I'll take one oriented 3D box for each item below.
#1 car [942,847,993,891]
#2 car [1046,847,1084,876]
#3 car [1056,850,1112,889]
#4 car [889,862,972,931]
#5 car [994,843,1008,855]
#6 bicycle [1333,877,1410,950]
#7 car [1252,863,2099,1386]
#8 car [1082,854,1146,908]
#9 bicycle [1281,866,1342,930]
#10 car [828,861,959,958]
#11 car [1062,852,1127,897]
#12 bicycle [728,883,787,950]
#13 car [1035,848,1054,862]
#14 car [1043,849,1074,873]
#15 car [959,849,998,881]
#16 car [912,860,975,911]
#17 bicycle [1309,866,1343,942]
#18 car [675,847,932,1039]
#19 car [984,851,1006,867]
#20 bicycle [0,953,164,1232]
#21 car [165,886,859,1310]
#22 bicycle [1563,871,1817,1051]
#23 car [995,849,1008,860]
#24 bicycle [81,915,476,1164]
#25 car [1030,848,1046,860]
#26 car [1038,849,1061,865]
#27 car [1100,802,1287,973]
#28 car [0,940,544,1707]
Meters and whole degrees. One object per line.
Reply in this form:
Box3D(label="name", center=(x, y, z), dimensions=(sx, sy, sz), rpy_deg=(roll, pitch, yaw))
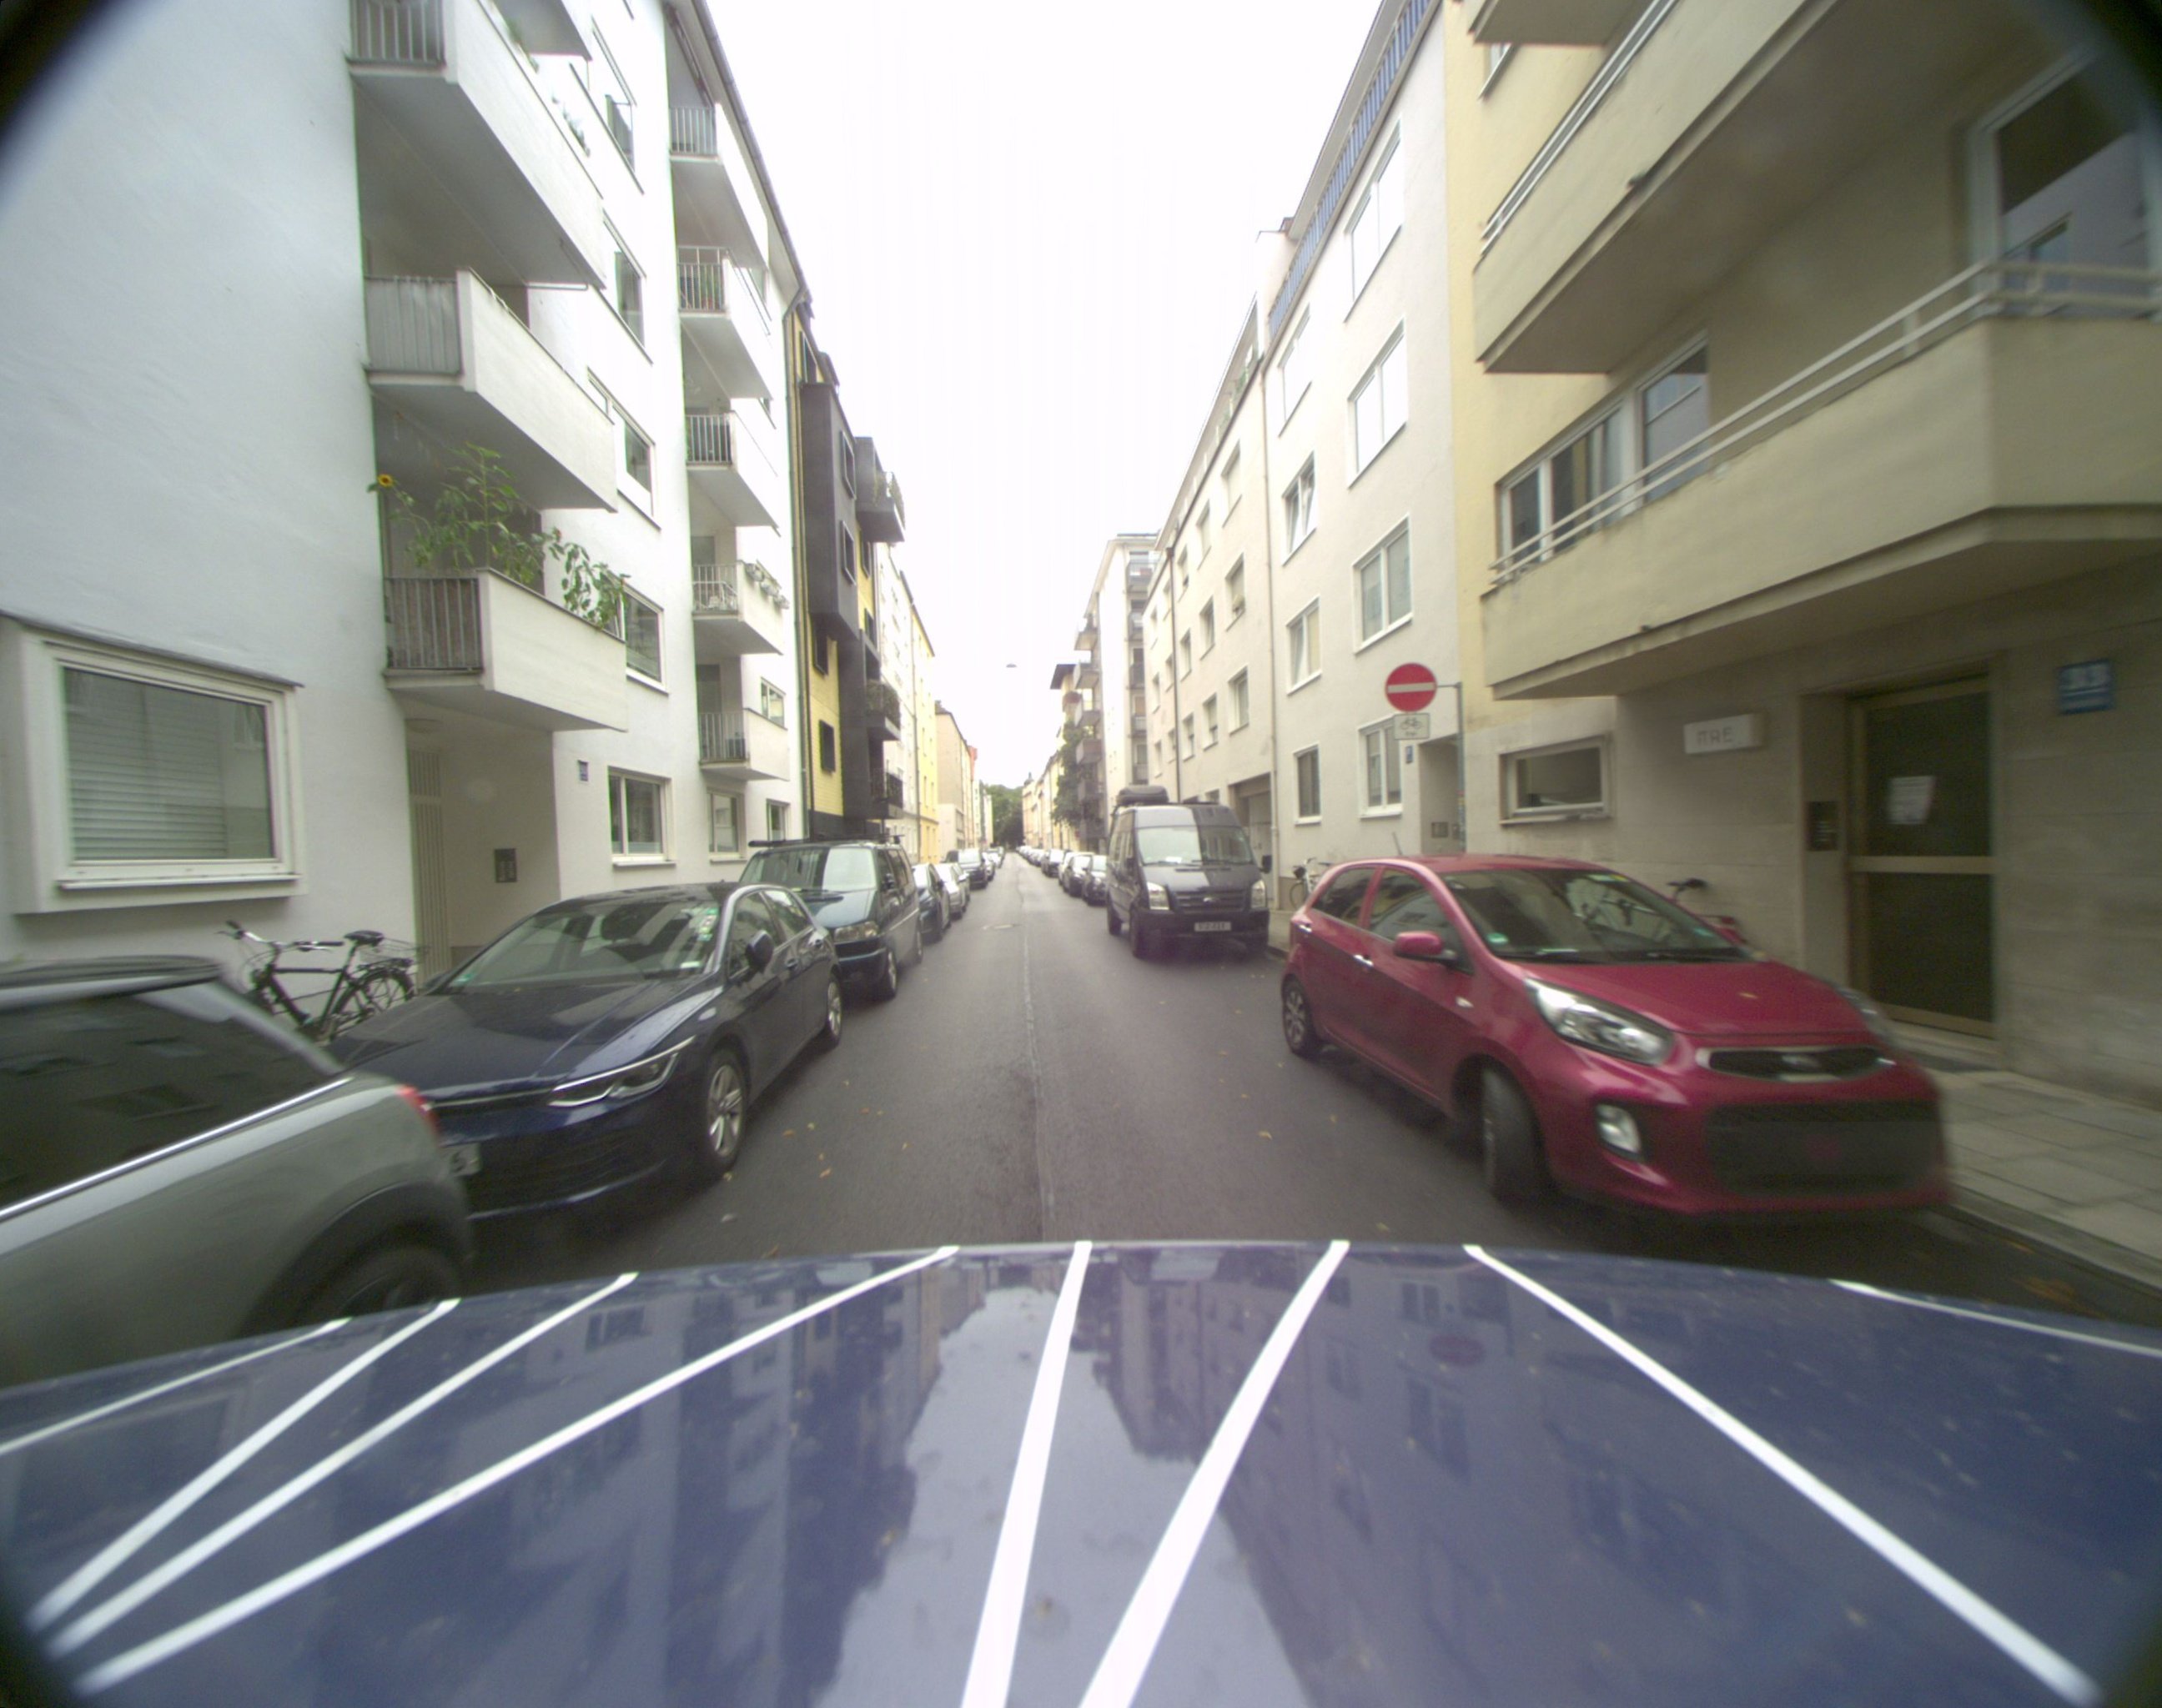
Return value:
Box3D(label="car", center=(-5.383, 0.645, 36.557), dimensions=(1.988, 1.828, 5.180), rpy_deg=(-4, 1, -5))
Box3D(label="car", center=(-1.013, 0.415, 45.941), dimensions=(1.973, 1.598, 4.537), rpy_deg=(-2, 1, -5))
Box3D(label="car", center=(0.044, 0.613, 32.896), dimensions=(1.918, 1.429, 4.805), rpy_deg=(-2, 1, -5))
Box3D(label="car", center=(-4.032, 1.075, 20.957), dimensions=(1.765, 1.423, 4.258), rpy_deg=(-5, 1, -6))
Box3D(label="car", center=(-11.744, -0.760, 111.602), dimensions=(1.896, 1.621, 4.293), rpy_deg=(-2, 1, -5))
Box3D(label="bicycle", center=(4.505, 0.896, 11.892), dimensions=(0.491, 0.978, 1.590), rpy_deg=(-3, 1, -3))
Box3D(label="car", center=(2.356, 0.857, 4.257), dimensions=(1.624, 1.488, 3.706), rpy_deg=(-2, 1, -6))
Box3D(label="car", center=(0.931, 0.762, 23.270), dimensions=(1.616, 1.438, 3.741), rpy_deg=(0, 1, -3))
Box3D(label="bicycle", center=(4.383, 0.802, 14.554), dimensions=(0.464, 1.091, 1.869), rpy_deg=(-3, 1, -3))
Box3D(label="car", center=(-3.716, 1.006, 15.881), dimensions=(1.911, 1.545, 4.622), rpy_deg=(-2, 1, -5))
Box3D(label="car", center=(0.406, 0.679, 27.819), dimensions=(1.806, 1.409, 4.223), rpy_deg=(-2, 1, -7))
Box3D(label="bicycle", center=(-6.215, 1.178, 14.651), dimensions=(0.572, 1.144, 1.430), rpy_deg=(-3, 1, -5))
Box3D(label="car", center=(-3.985, 0.099, 82.008), dimensions=(1.896, 1.444, 4.293), rpy_deg=(-2, 1, -5))
Box3D(label="car", center=(-1.581, 0.447, 51.909), dimensions=(1.819, 1.434, 4.293), rpy_deg=(-2, 1, -5))
Box3D(label="car", center=(-5.913, 0.603, 44.260), dimensions=(1.967, 1.665, 4.538), rpy_deg=(-2, 1, -5))
Box3D(label="car", center=(-4.572, 0.998, 25.759), dimensions=(1.740, 1.421, 4.199), rpy_deg=(-2, 1, -6))
Box3D(label="bicycle", center=(4.113, 0.796, 12.704), dimensions=(0.463, 1.091, 1.872), rpy_deg=(-2, 1, 19))
Box3D(label="car", center=(-3.185, 0.848, 9.878), dimensions=(1.880, 1.781, 4.779), rpy_deg=(-2, 1, -5))
Box3D(label="car", center=(-8.367, 0.447, 74.113), dimensions=(1.973, 1.369, 4.293), rpy_deg=(-2, 1, -5))
Box3D(label="bicycle", center=(-5.320, 1.169, 3.223), dimensions=(0.561, 1.213, 1.917), rpy_deg=(-3, 1, -4))
Box3D(label="car", center=(-2.855, 1.055, 5.111), dimensions=(1.839, 1.411, 4.056), rpy_deg=(-2, 1, -6))
Box3D(label="bicycle", center=(4.674, 0.742, 6.007), dimensions=(0.469, 1.142, 1.759), rpy_deg=(-3, 1, -4))
Box3D(label="car", center=(-12.624, 0.055, 120.215), dimensions=(1.896, 1.621, 4.293), rpy_deg=(-2, 1, -5))
Box3D(label="bicycle", center=(-5.506, 1.153, 5.500), dimensions=(0.625, 1.213, 2.246), rpy_deg=(-3, 1, -7))
Box3D(label="car", center=(-5.632, 0.032, 99.593), dimensions=(1.896, 1.444, 4.293), rpy_deg=(-2, 1, -5))
Box3D(label="car", center=(-2.986, 0.240, 71.097), dimensions=(1.973, 1.369, 4.293), rpy_deg=(-2, 1, -5))
Box3D(label="car", center=(1.586, 0.406, 12.876), dimensions=(2.024, 2.266, 5.387), rpy_deg=(-1, 1, -4))
Box3D(label="car", center=(-2.571, 1.051, 0.478), dimensions=(1.748, 1.433, 3.998), rpy_deg=(-2, 1, -4))
